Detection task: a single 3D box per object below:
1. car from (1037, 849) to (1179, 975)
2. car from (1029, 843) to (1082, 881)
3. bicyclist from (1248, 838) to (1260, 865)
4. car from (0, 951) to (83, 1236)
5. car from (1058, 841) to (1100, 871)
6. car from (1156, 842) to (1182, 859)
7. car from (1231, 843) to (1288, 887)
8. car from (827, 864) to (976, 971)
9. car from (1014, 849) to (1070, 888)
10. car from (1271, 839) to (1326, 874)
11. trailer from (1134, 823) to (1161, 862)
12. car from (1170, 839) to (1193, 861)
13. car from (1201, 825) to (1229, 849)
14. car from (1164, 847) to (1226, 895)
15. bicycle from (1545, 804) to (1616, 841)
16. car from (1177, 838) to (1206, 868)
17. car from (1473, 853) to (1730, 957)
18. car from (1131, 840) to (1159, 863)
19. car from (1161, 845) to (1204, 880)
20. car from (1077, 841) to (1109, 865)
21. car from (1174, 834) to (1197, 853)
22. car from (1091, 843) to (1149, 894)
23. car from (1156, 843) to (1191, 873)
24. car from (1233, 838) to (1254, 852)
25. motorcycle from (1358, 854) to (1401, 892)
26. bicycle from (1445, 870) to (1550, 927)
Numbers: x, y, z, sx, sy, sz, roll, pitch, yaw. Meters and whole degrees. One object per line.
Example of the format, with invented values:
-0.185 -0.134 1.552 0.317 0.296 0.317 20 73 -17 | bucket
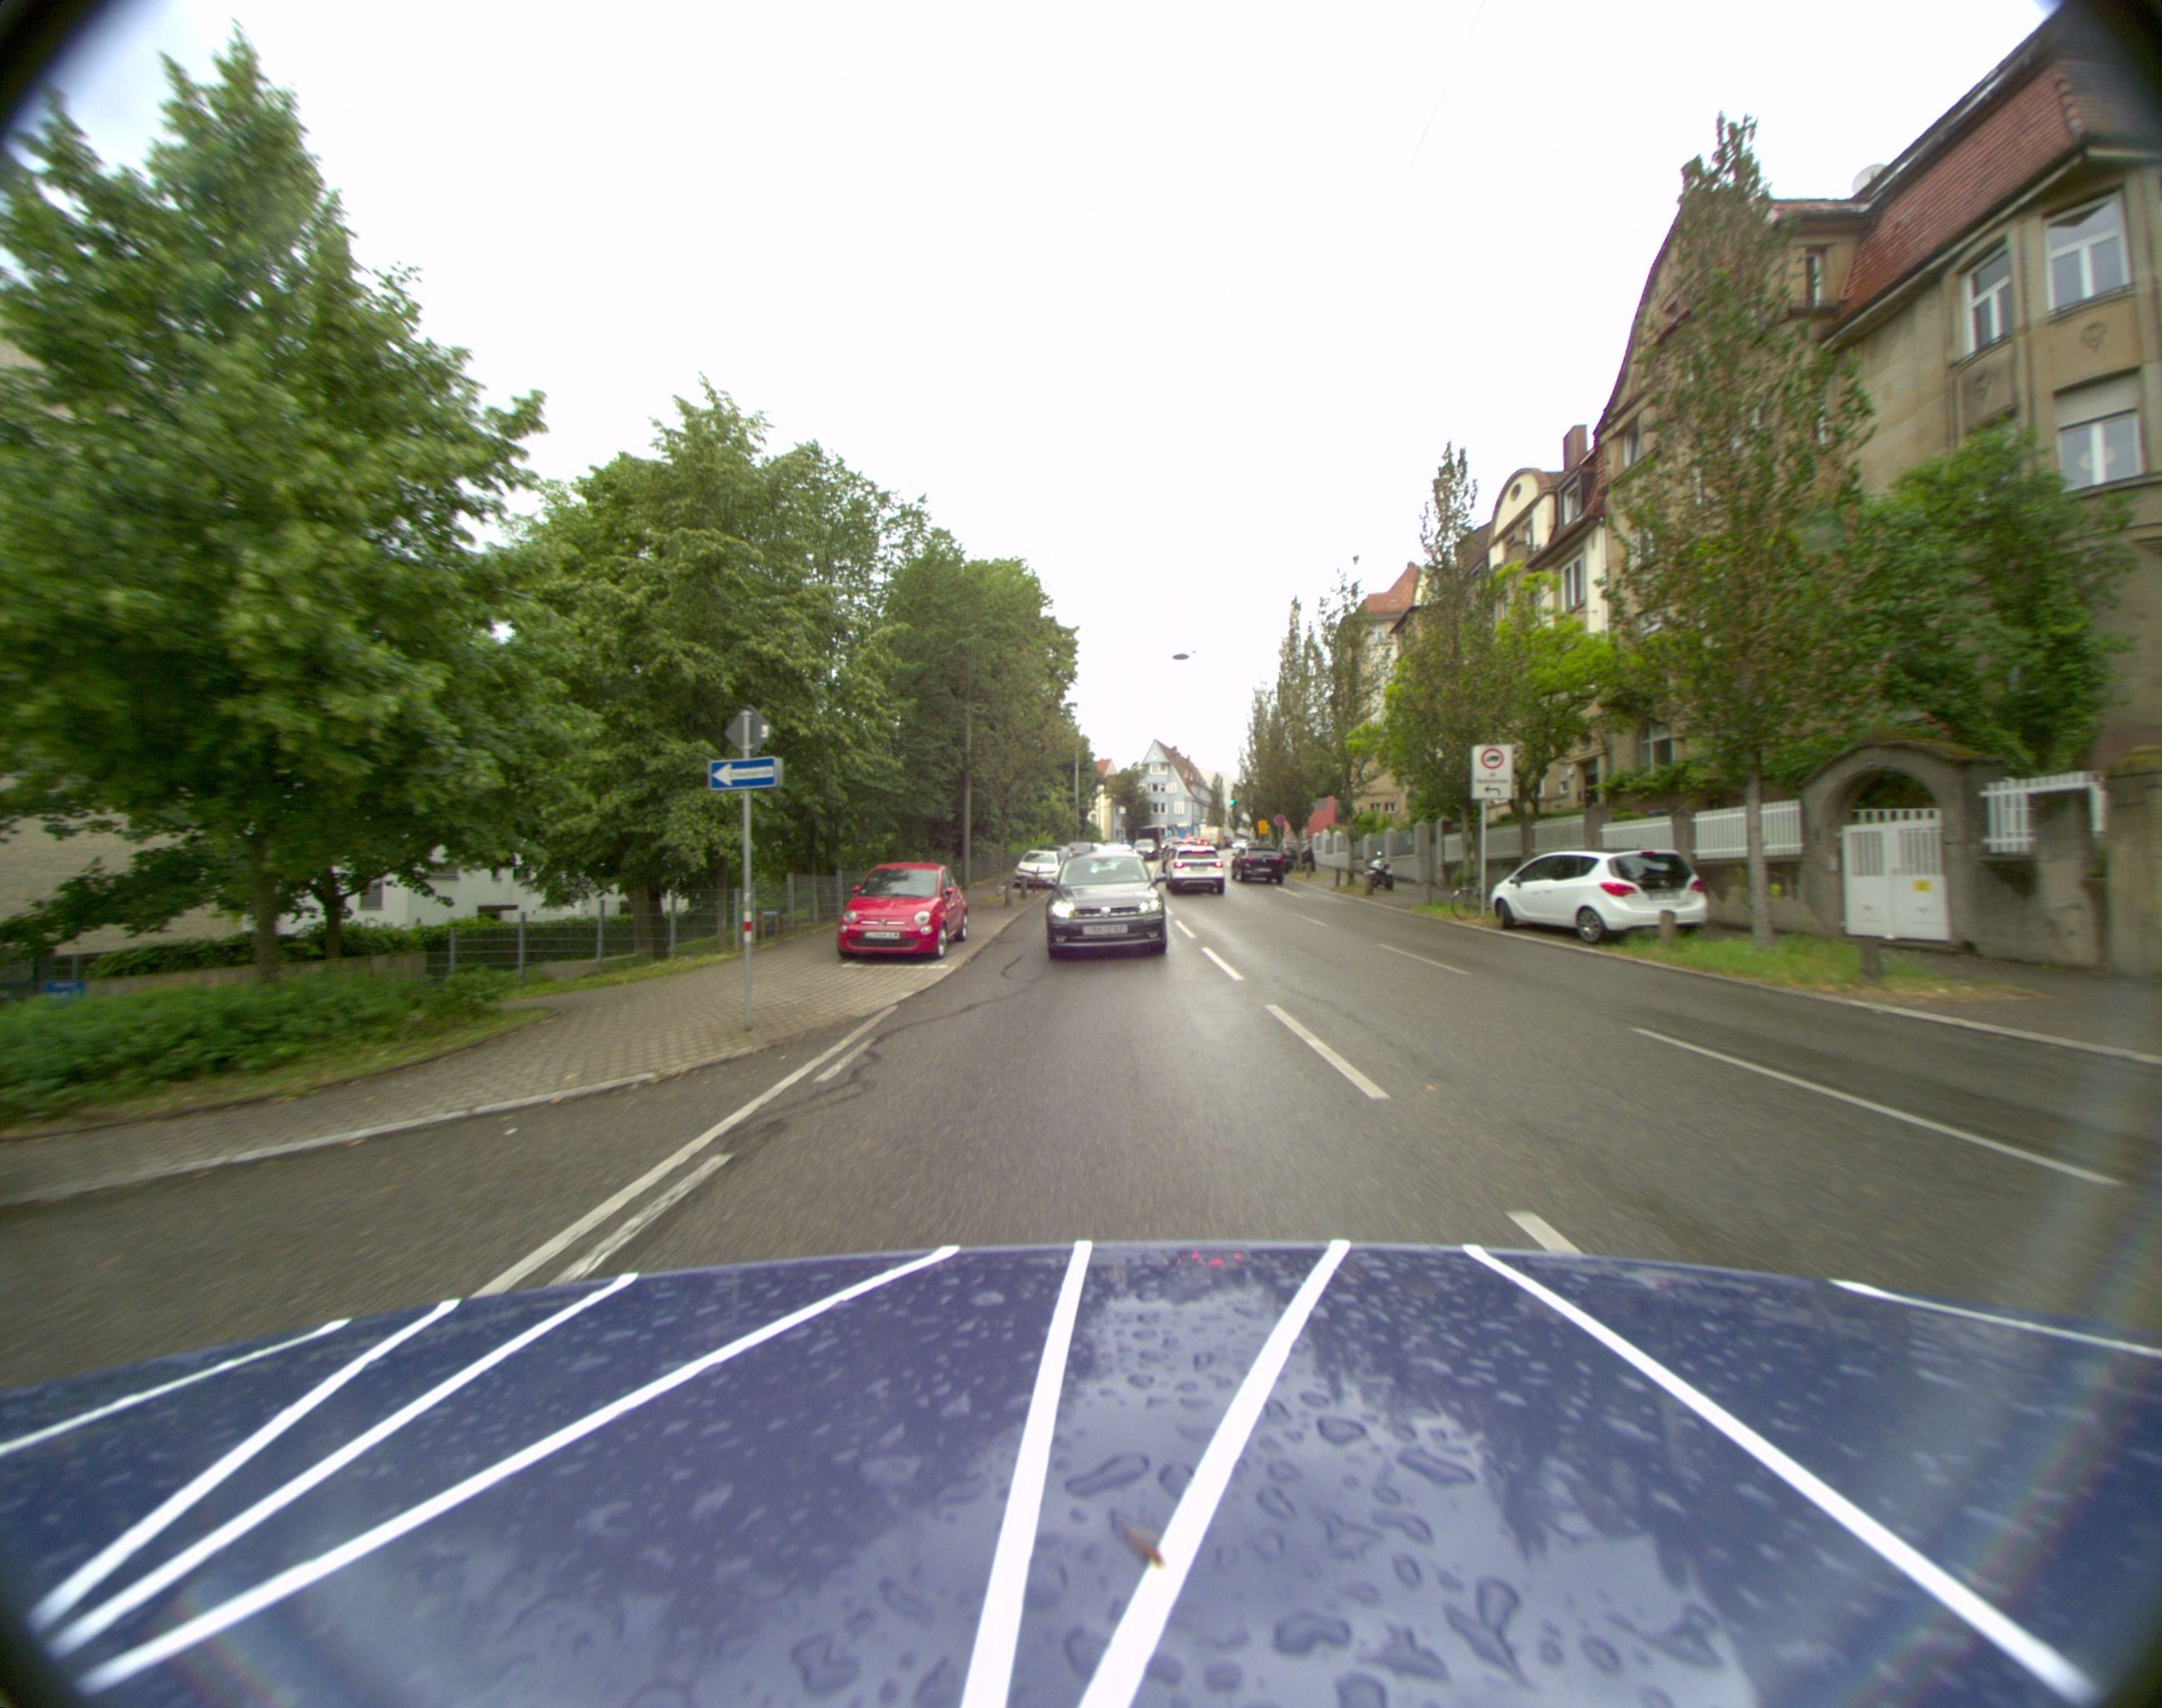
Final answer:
0.373 0.785 12.695 1.860 1.641 5.195 -1 0 0 | car
-1.182 0.345 37.543 1.924 1.641 4.885 3 1 5 | car
9.958 -0.137 43.858 0.656 1.548 0.992 0 1 11 | bicyclist
-7.929 1.430 3.286 4.280 1.489 2.002 -4 -1 -4 | car
-0.082 0.070 47.146 1.971 1.642 4.817 3 2 6 | car
9.343 -0.377 80.530 1.923 1.641 4.139 -2 0 17 | car
7.481 0.403 32.134 1.747 1.509 3.868 2 4 5 | car
-2.937 0.974 13.271 1.613 1.493 3.958 0 1 1 | car
-1.573 0.553 32.135 1.745 1.454 4.884 3 1 4 | car
11.234 0.102 39.533 2.000 1.586 3.828 -4 1 6 | car
5.453 -0.948 62.477 1.966 3.024 2.366 -2 1 8 | trailer
7.412 -0.284 56.278 1.621 1.515 4.116 1 1 7 | car
14.678 -1.855 83.054 2.132 2.491 5.416 2 1 18 | car
3.832 0.508 26.063 1.776 1.509 4.100 0 1 4 | car
17.063 -1.065 25.989 1.980 1.228 0.657 0 1 1 | bicycle
6.753 -0.101 46.727 1.655 1.698 4.115 1 2 7 | car
9.367 0.803 14.194 1.746 1.550 4.301 -3 1 -1 | car
5.047 -0.229 59.373 1.924 1.641 4.137 -2 0 8 | car
4.480 0.330 33.942 1.766 1.423 3.886 -1 1 6 | car
0.890 -0.087 53.748 1.924 1.552 4.013 3 2 5 | car
9.673 -0.947 69.915 1.620 1.652 4.118 1 1 14 | car
1.435 0.488 28.240 1.925 1.641 4.487 -2 0 3 | car
4.901 0.184 40.201 1.715 1.471 4.116 1 1 7 | car
24.122 -1.353 112.509 2.132 2.015 5.417 2 1 21 | car
10.365 0.640 26.442 0.657 1.228 1.981 0 1 -2 | motorcycle
9.319 0.996 17.050 1.980 1.228 0.657 0 1 1 | bicycle
